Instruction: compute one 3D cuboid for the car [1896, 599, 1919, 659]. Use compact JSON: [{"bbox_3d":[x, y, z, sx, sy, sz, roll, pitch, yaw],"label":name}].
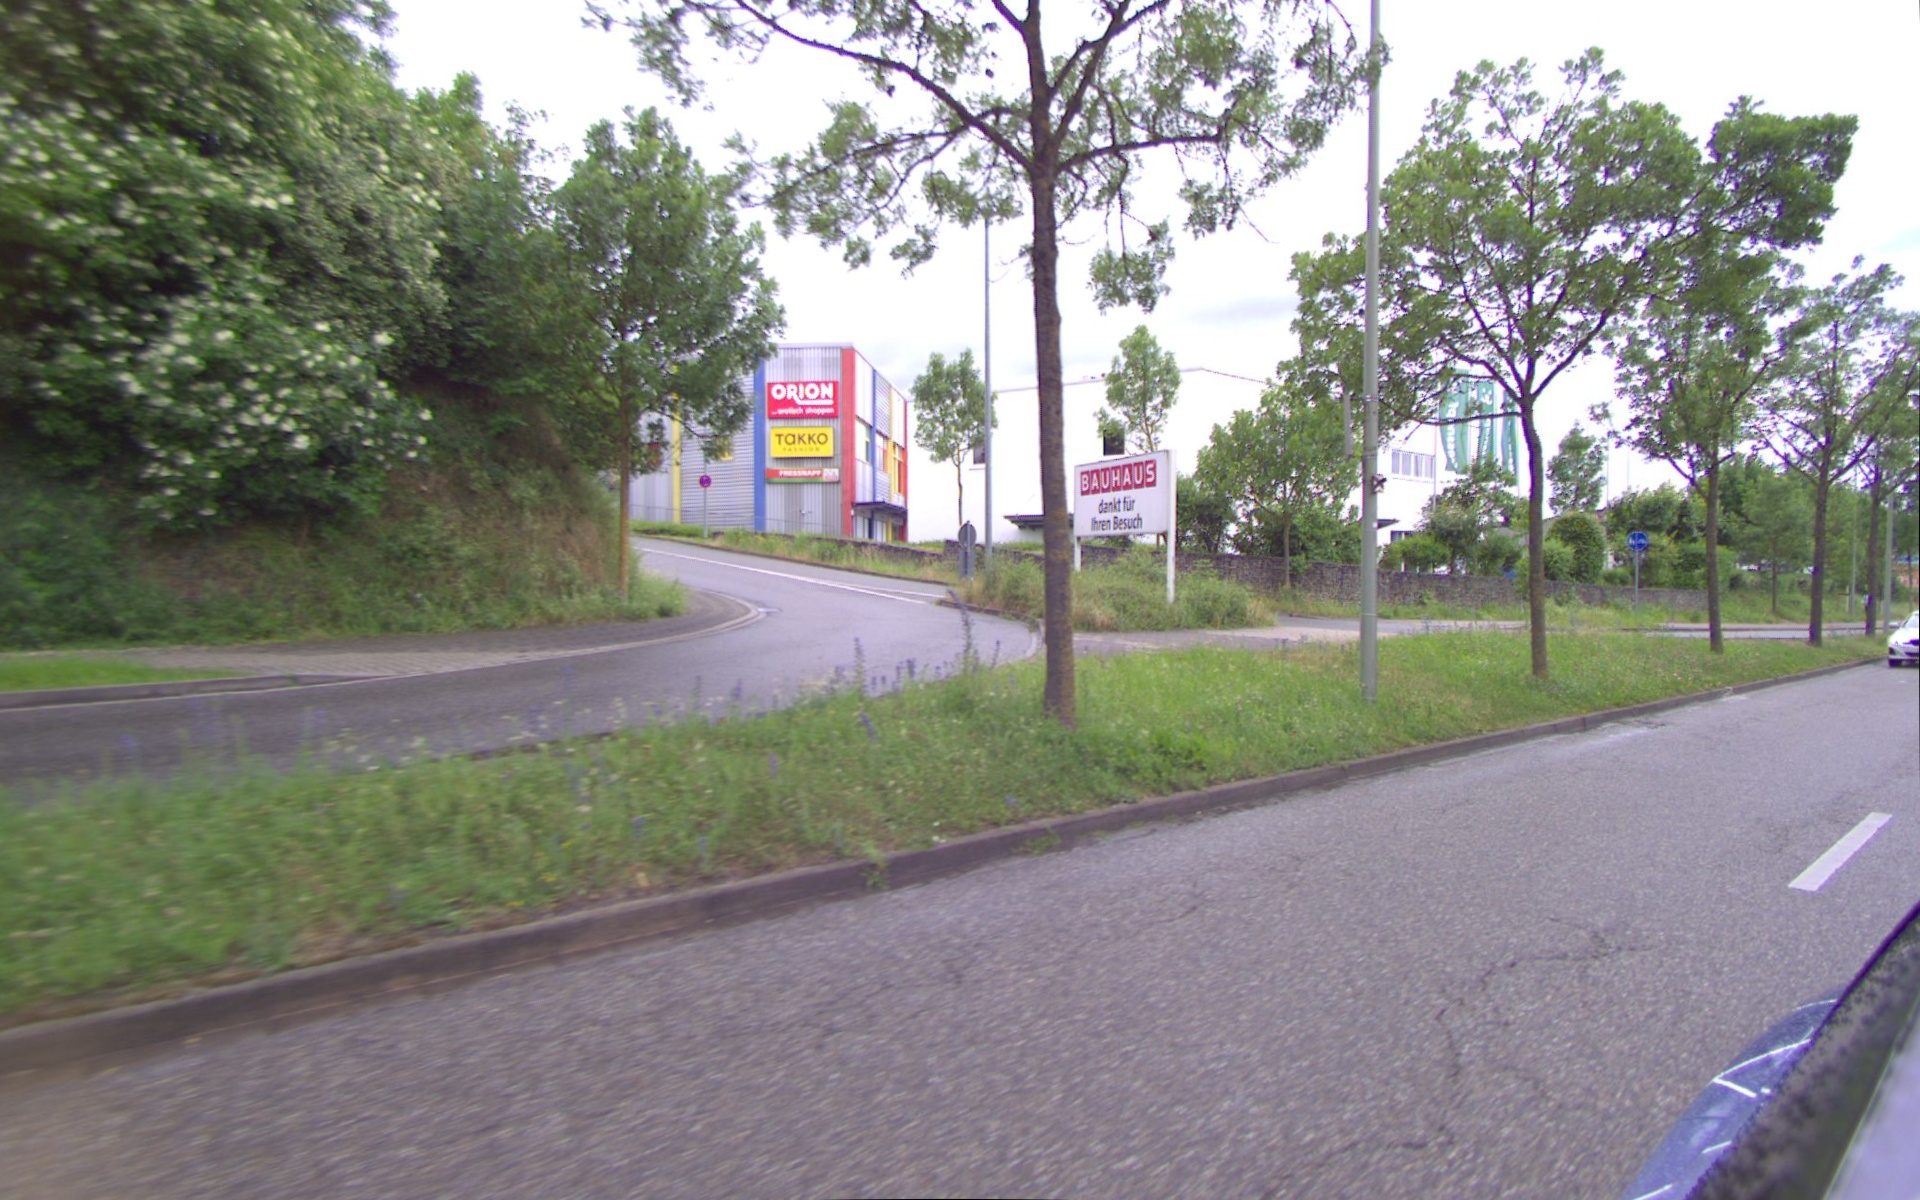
[{"bbox_3d":[25.787,0.747,26.135,3.928,1.500,1.863,0,1,-40],"label":"car"}]
